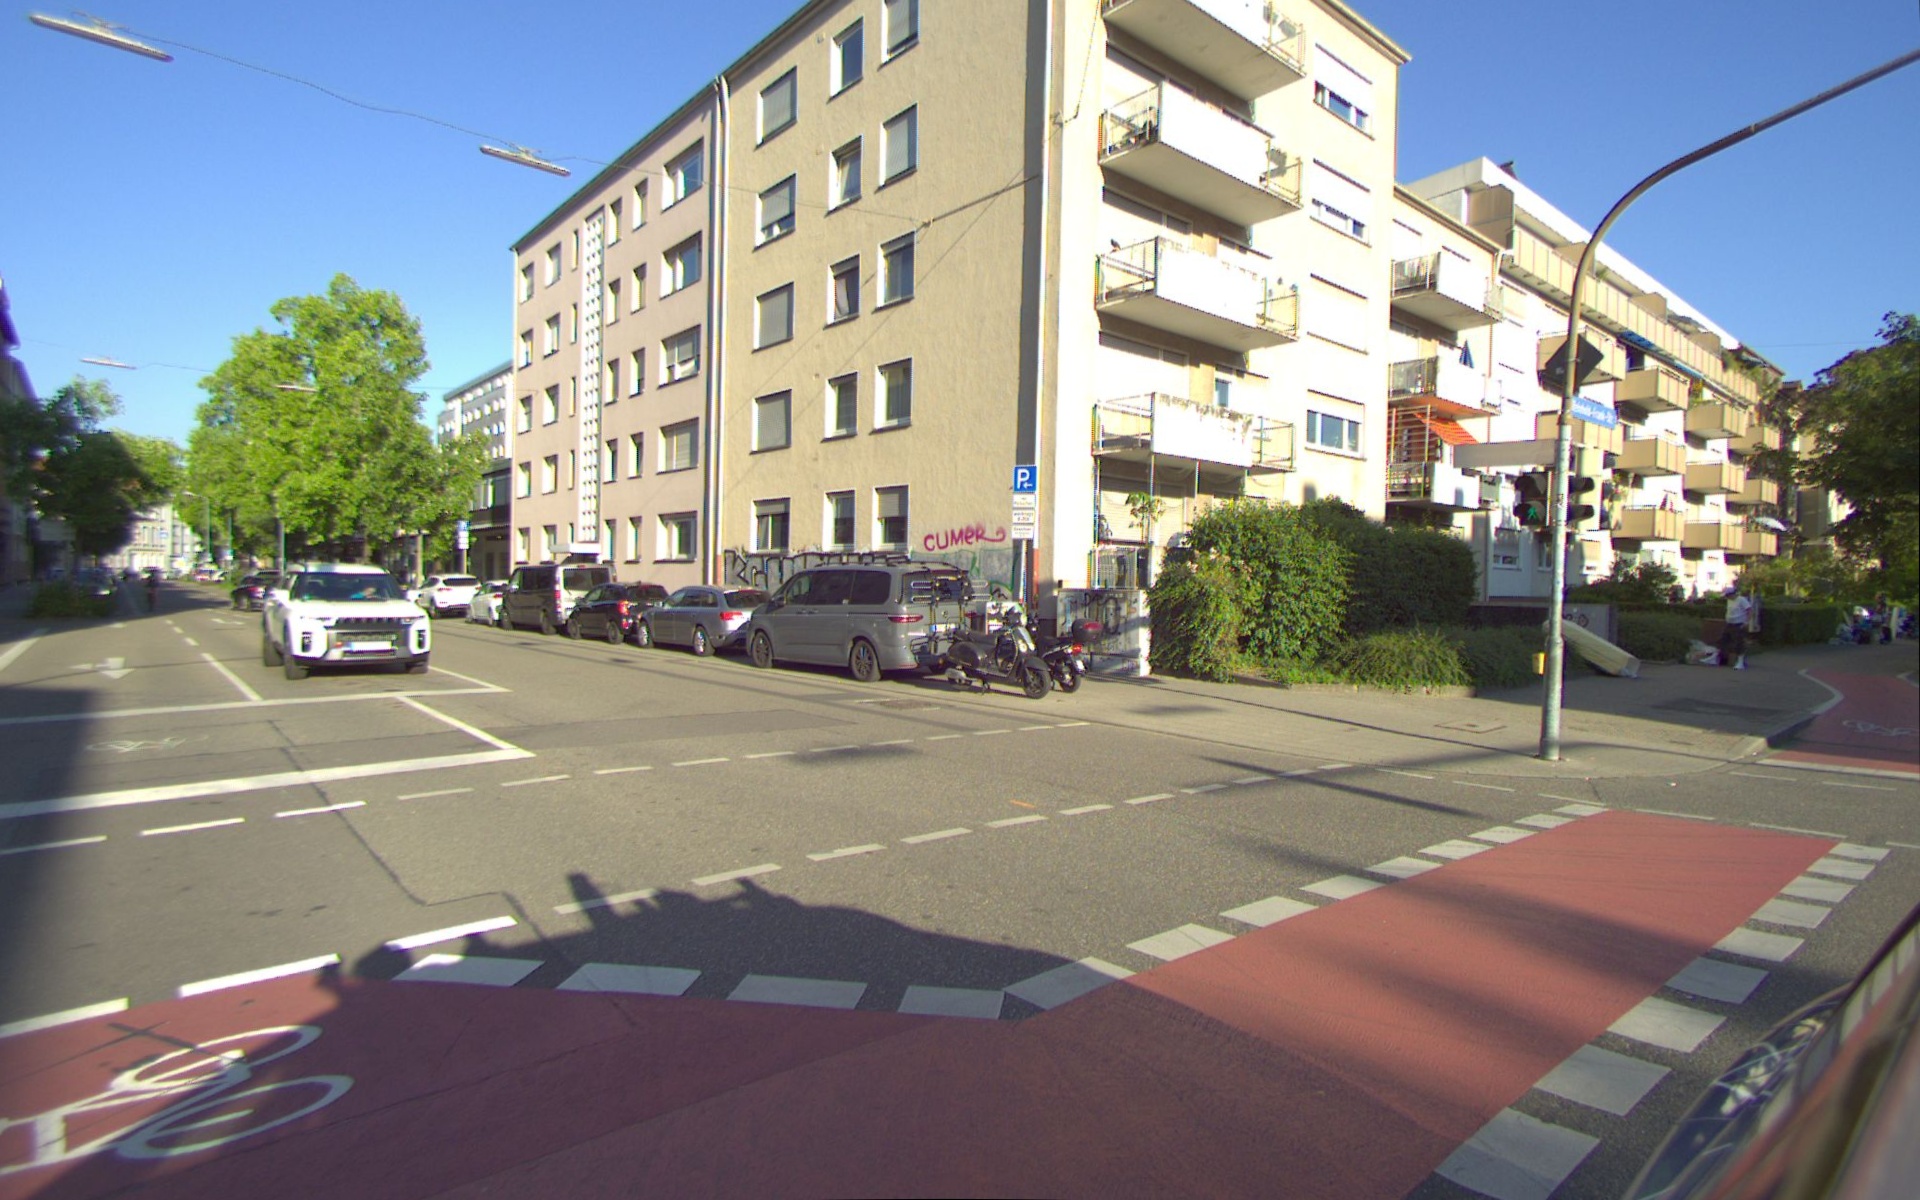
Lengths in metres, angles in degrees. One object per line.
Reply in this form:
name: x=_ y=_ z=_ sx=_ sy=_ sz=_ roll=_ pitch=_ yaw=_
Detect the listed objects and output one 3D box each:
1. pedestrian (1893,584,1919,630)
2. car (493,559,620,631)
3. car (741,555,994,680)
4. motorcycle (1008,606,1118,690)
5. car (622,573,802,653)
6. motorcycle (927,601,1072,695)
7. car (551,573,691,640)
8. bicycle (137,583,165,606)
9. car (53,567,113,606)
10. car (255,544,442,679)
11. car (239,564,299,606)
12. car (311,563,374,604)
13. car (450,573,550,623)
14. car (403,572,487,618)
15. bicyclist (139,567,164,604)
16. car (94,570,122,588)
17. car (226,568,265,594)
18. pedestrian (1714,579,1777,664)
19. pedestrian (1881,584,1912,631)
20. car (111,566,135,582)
pedestrian: x=36.088 y=0.272 z=38.528 sx=0.815 sy=1.704 sz=0.660 roll=0 pitch=1 yaw=-35
car: x=-11.942 y=-0.200 z=29.728 sx=1.919 sy=1.931 sz=5.070 roll=0 pitch=1 yaw=-41
car: x=-1.759 y=0.190 z=17.747 sx=1.920 sy=1.889 sz=4.835 roll=-2 pitch=2 yaw=-42
motorcycle: x=1.481 y=0.671 z=14.845 sx=0.584 sy=1.126 sz=1.697 roll=0 pitch=1 yaw=-39
car: x=-5.597 y=0.195 z=22.466 sx=1.920 sy=1.560 sz=4.614 roll=-2 pitch=2 yaw=-42
motorcycle: x=0.538 y=0.636 z=14.342 sx=1.981 sy=1.216 sz=0.764 roll=1 pitch=1 yaw=38
car: x=-8.797 y=0.092 z=26.078 sx=1.919 sy=1.560 sz=4.285 roll=-2 pitch=2 yaw=-41
bicycle: x=-33.399 y=-0.242 z=41.801 sx=0.730 sy=0.933 sz=2.399 roll=0 pitch=1 yaw=-35
car: x=-39.273 y=-0.636 z=45.394 sx=1.918 sy=1.681 sz=4.351 roll=0 pitch=1 yaw=-39
car: x=-9.911 y=0.105 z=16.235 sx=1.919 sy=1.861 sz=4.349 roll=0 pitch=1 yaw=-40
car: x=-28.994 y=-0.657 z=42.420 sx=1.917 sy=1.681 sz=4.354 roll=0 pitch=1 yaw=-37
car: x=-29.697 y=-0.807 z=48.613 sx=1.919 sy=1.861 sz=4.348 roll=0 pitch=1 yaw=-41
car: x=-15.514 y=-0.120 z=34.006 sx=1.919 sy=1.560 sz=4.285 roll=-2 pitch=2 yaw=-41
car: x=-20.010 y=-0.241 z=39.250 sx=1.919 sy=1.681 sz=4.348 roll=0 pitch=1 yaw=-41
bicyclist: x=-33.448 y=-0.611 z=41.882 sx=0.730 sy=1.522 sz=0.883 roll=0 pitch=1 yaw=-35
car: x=-77.796 y=-1.890 z=92.407 sx=3.644 sy=1.579 sz=1.627 roll=2 pitch=1 yaw=44
car: x=-46.892 y=-1.261 z=66.487 sx=1.915 sy=1.681 sz=4.357 roll=0 pitch=1 yaw=-33
pedestrian: x=16.198 y=0.424 z=20.875 sx=0.648 sy=1.704 sz=0.831 roll=0 pitch=2 yaw=-36
pedestrian: x=34.651 y=0.281 z=37.450 sx=0.815 sy=1.704 sz=0.660 roll=0 pitch=1 yaw=-35
car: x=-89.586 y=-2.773 z=108.274 sx=3.644 sy=1.630 sz=1.627 roll=2 pitch=1 yaw=44
